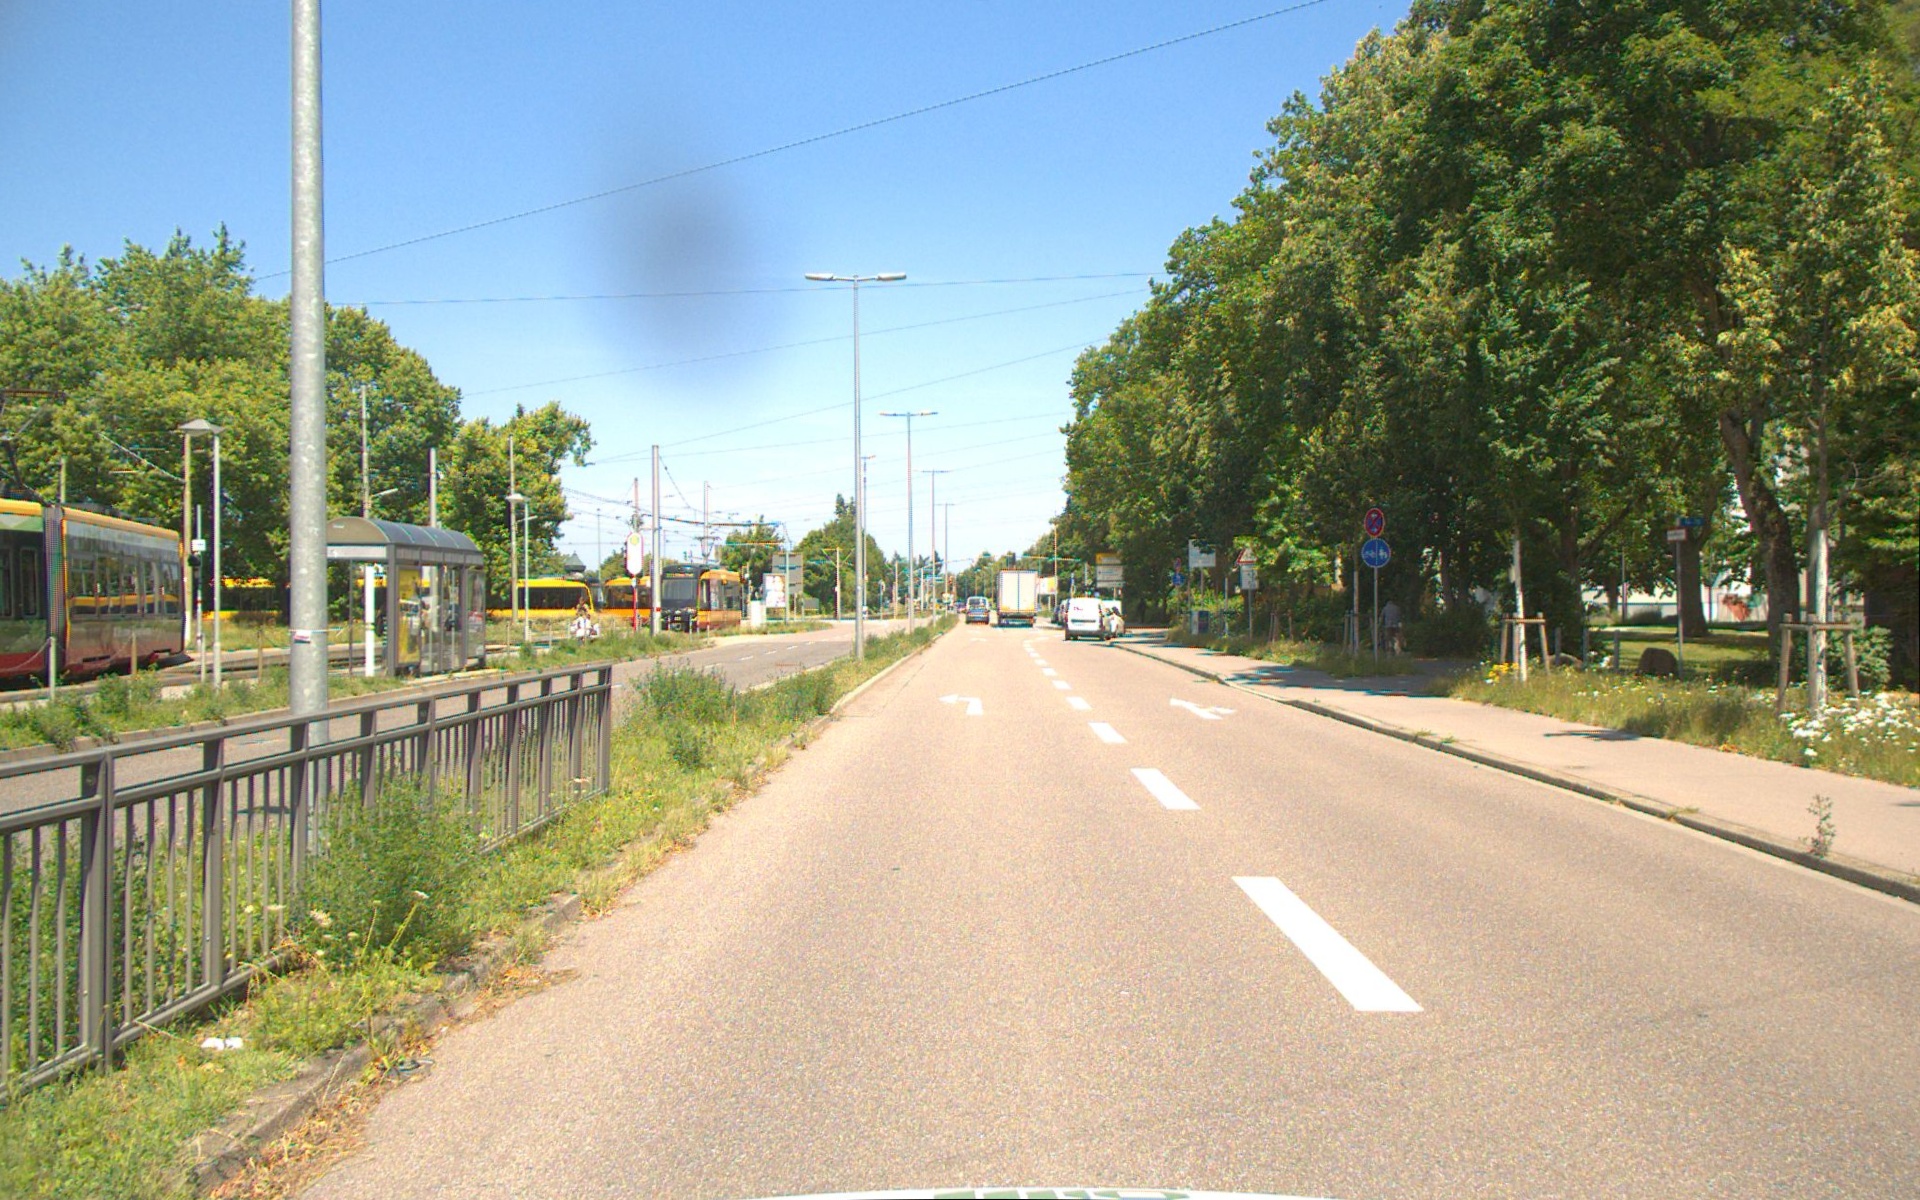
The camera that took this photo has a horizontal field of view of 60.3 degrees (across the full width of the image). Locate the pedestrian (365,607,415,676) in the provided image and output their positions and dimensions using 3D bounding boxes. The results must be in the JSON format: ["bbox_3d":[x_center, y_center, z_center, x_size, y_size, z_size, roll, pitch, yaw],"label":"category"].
[{"bbox_3d":[-11.159,0.800,32.399,0.687,1.306,0.840,1,0,-2],"label":"pedestrian"}]

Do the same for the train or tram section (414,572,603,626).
[{"bbox_3d":[-31.762,-0.090,116.537,12.442,3.526,3.048,1,0,4],"label":"train or tram section"}]

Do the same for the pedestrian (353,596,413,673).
[{"bbox_3d":[-12.206,0.719,34.997,0.912,1.573,0.985,1,0,-2],"label":"pedestrian"}]

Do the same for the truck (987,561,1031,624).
[{"bbox_3d":[3.575,-0.564,121.696,2.769,4.420,8.283,2,1,-1],"label":"truck"}]

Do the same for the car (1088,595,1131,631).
[{"bbox_3d":[7.328,0.613,81.563,1.665,1.683,4.398,1,0,-1],"label":"car"}]

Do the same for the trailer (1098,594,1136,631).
[{"bbox_3d":[7.381,0.582,77.928,1.439,1.698,2.855,1,0,-1],"label":"trailer"}]

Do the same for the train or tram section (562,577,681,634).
[{"bbox_3d":[-22.494,0.279,109.231,3.010,3.526,12.596,1,0,-34],"label":"train or tram section"}]

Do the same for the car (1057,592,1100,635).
[{"bbox_3d":[5.090,0.559,71.610,1.674,1.778,4.428,1,0,2],"label":"car"}]

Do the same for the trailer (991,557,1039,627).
[{"bbox_3d":[3.717,-0.529,113.148,2.769,4.499,8.747,1,0,-1],"label":"trailer"}]

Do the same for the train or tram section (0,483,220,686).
[{"bbox_3d":[-19.094,-0.328,36.121,2.991,3.688,12.409,1,0,-13],"label":"train or tram section"}]

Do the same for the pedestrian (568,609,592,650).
[{"bbox_3d":[-11.441,0.890,49.823,0.569,1.210,0.536,1,0,0],"label":"pedestrian"}]

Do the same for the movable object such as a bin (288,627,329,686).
[{"bbox_3d":[-11.289,0.972,28.666,0.472,0.995,0.644,0,0,-4],"label":"movable object such as a bin"}]

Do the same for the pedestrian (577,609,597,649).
[{"bbox_3d":[-11.349,0.885,50.322,0.484,1.210,0.401,1,0,2],"label":"pedestrian"}]

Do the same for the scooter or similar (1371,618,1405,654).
[{"bbox_3d":[11.297,0.946,43.665,0.693,0.909,0.763,1,0,2],"label":"scooter or similar"}]

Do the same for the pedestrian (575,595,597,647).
[{"bbox_3d":[-11.589,0.654,51.255,0.524,1.593,0.582,1,0,-1],"label":"pedestrian"}]

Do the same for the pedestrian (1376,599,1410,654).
[{"bbox_3d":[11.285,0.689,43.122,0.693,1.422,0.763,1,0,2],"label":"pedestrian"}]

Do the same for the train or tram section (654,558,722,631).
[{"bbox_3d":[-14.312,-0.289,87.908,2.979,3.526,13.271,1,0,-7],"label":"train or tram section"}]

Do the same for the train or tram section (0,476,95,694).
[{"bbox_3d":[-17.658,-0.271,24.128,2.982,3.688,13.894,1,0,-1],"label":"train or tram section"}]

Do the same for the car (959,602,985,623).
[{"bbox_3d":[0.867,0.928,124.230,1.854,1.396,4.429,2,-2,0],"label":"car"}]

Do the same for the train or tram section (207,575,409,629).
[{"bbox_3d":[-45.916,0.192,117.033,13.024,3.526,3.029,1,0,-20],"label":"train or tram section"}]

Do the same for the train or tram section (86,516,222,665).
[{"bbox_3d":[-22.999,-0.260,47.152,3.007,3.688,12.345,1,0,-26],"label":"train or tram section"}]
